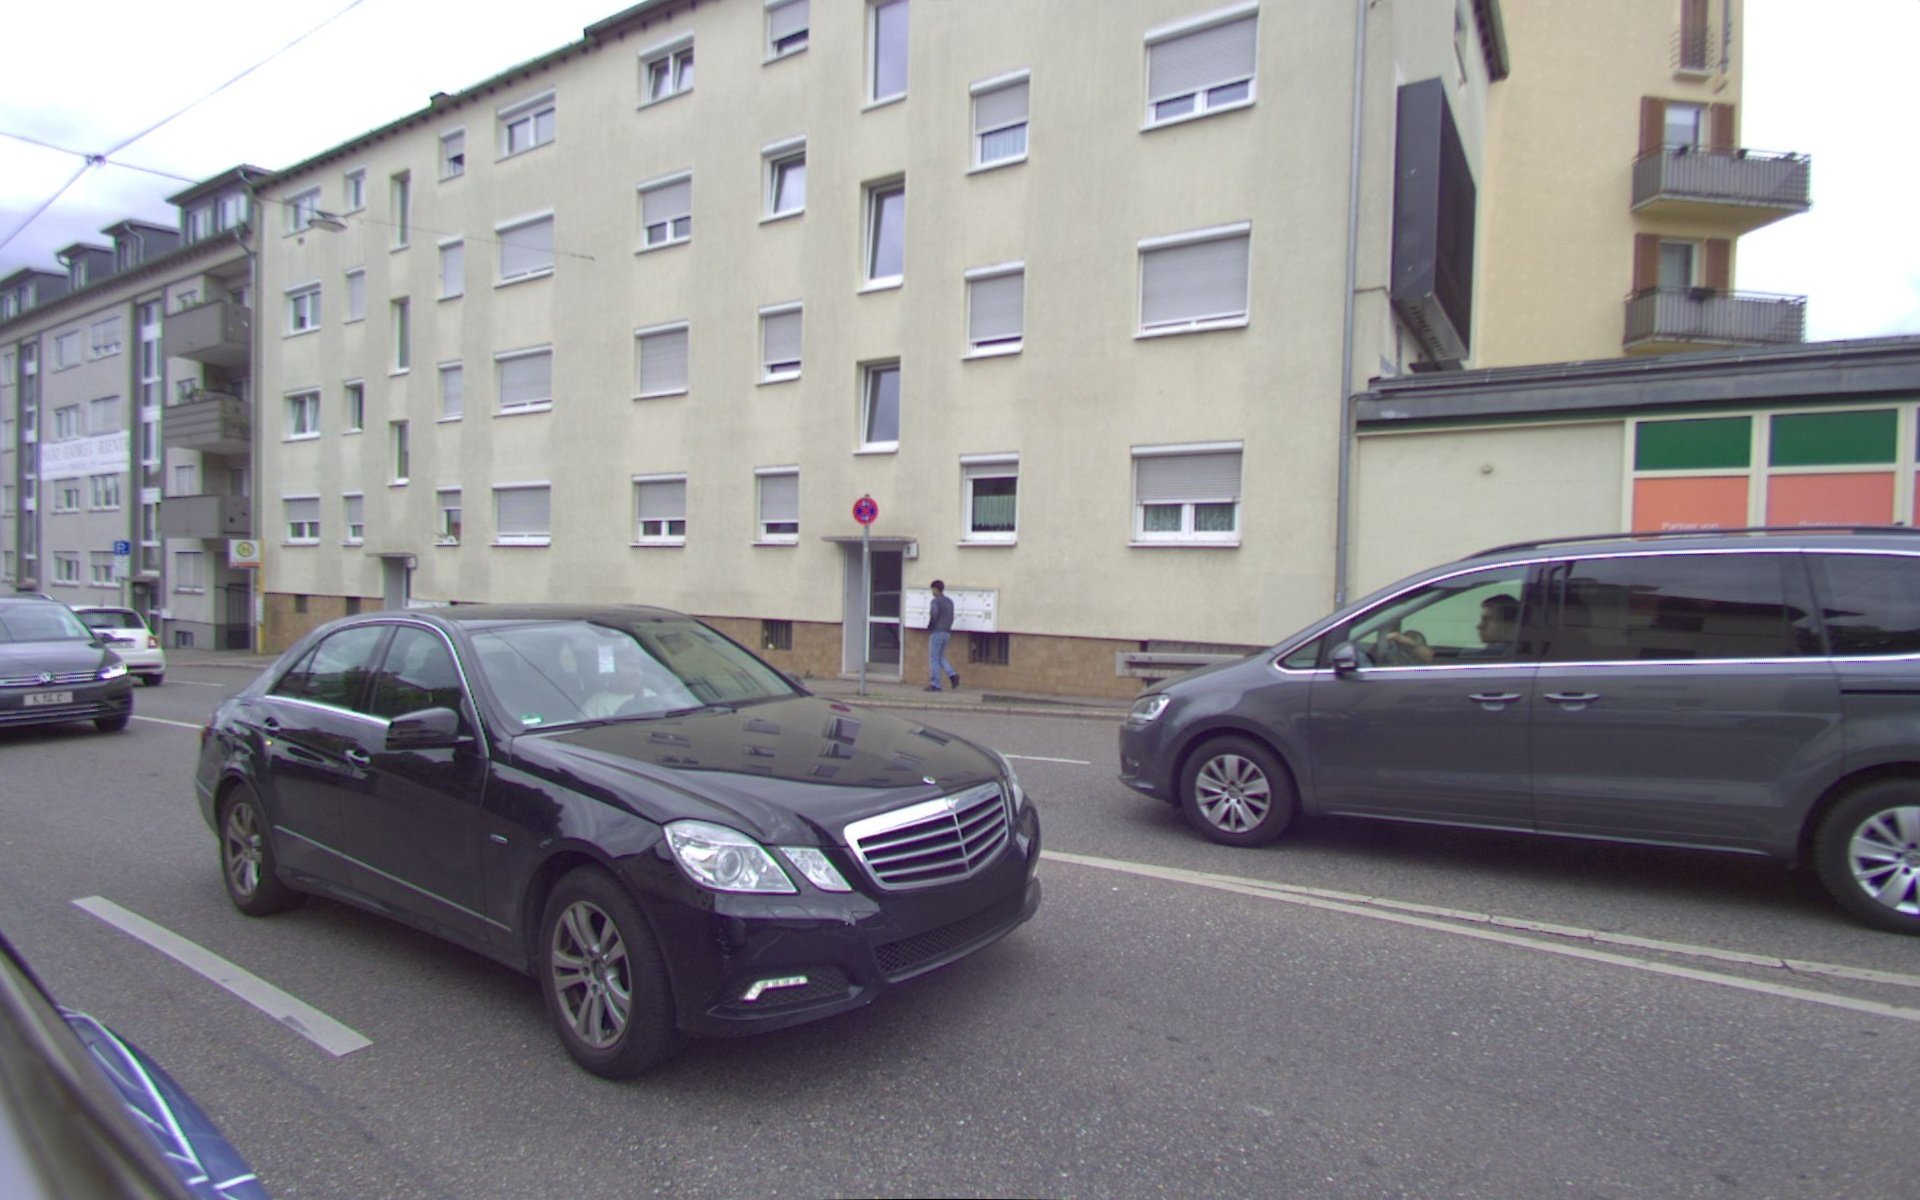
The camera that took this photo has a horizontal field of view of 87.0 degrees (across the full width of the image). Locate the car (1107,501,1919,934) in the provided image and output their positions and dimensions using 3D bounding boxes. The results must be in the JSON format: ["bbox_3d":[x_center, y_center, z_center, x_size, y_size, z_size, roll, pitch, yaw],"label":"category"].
[{"bbox_3d":[3.344,0.480,5.518,4.706,1.727,1.888,0,-1,34],"label":"car"}]

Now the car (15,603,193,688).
[{"bbox_3d":[-16.171,0.808,19.089,3.518,1.458,1.586,-1,0,32],"label":"car"}]

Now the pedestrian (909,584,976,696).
[{"bbox_3d":[-0.260,0.594,15.380,0.775,1.649,0.683,-1,0,29],"label":"pedestrian"}]

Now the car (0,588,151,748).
[{"bbox_3d":[-11.522,0.692,11.871,4.466,1.623,1.843,0,1,33],"label":"car"}]

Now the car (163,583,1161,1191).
[{"bbox_3d":[-1.728,0.723,4.679,4.835,1.439,1.975,-2,0,38],"label":"car"}]
